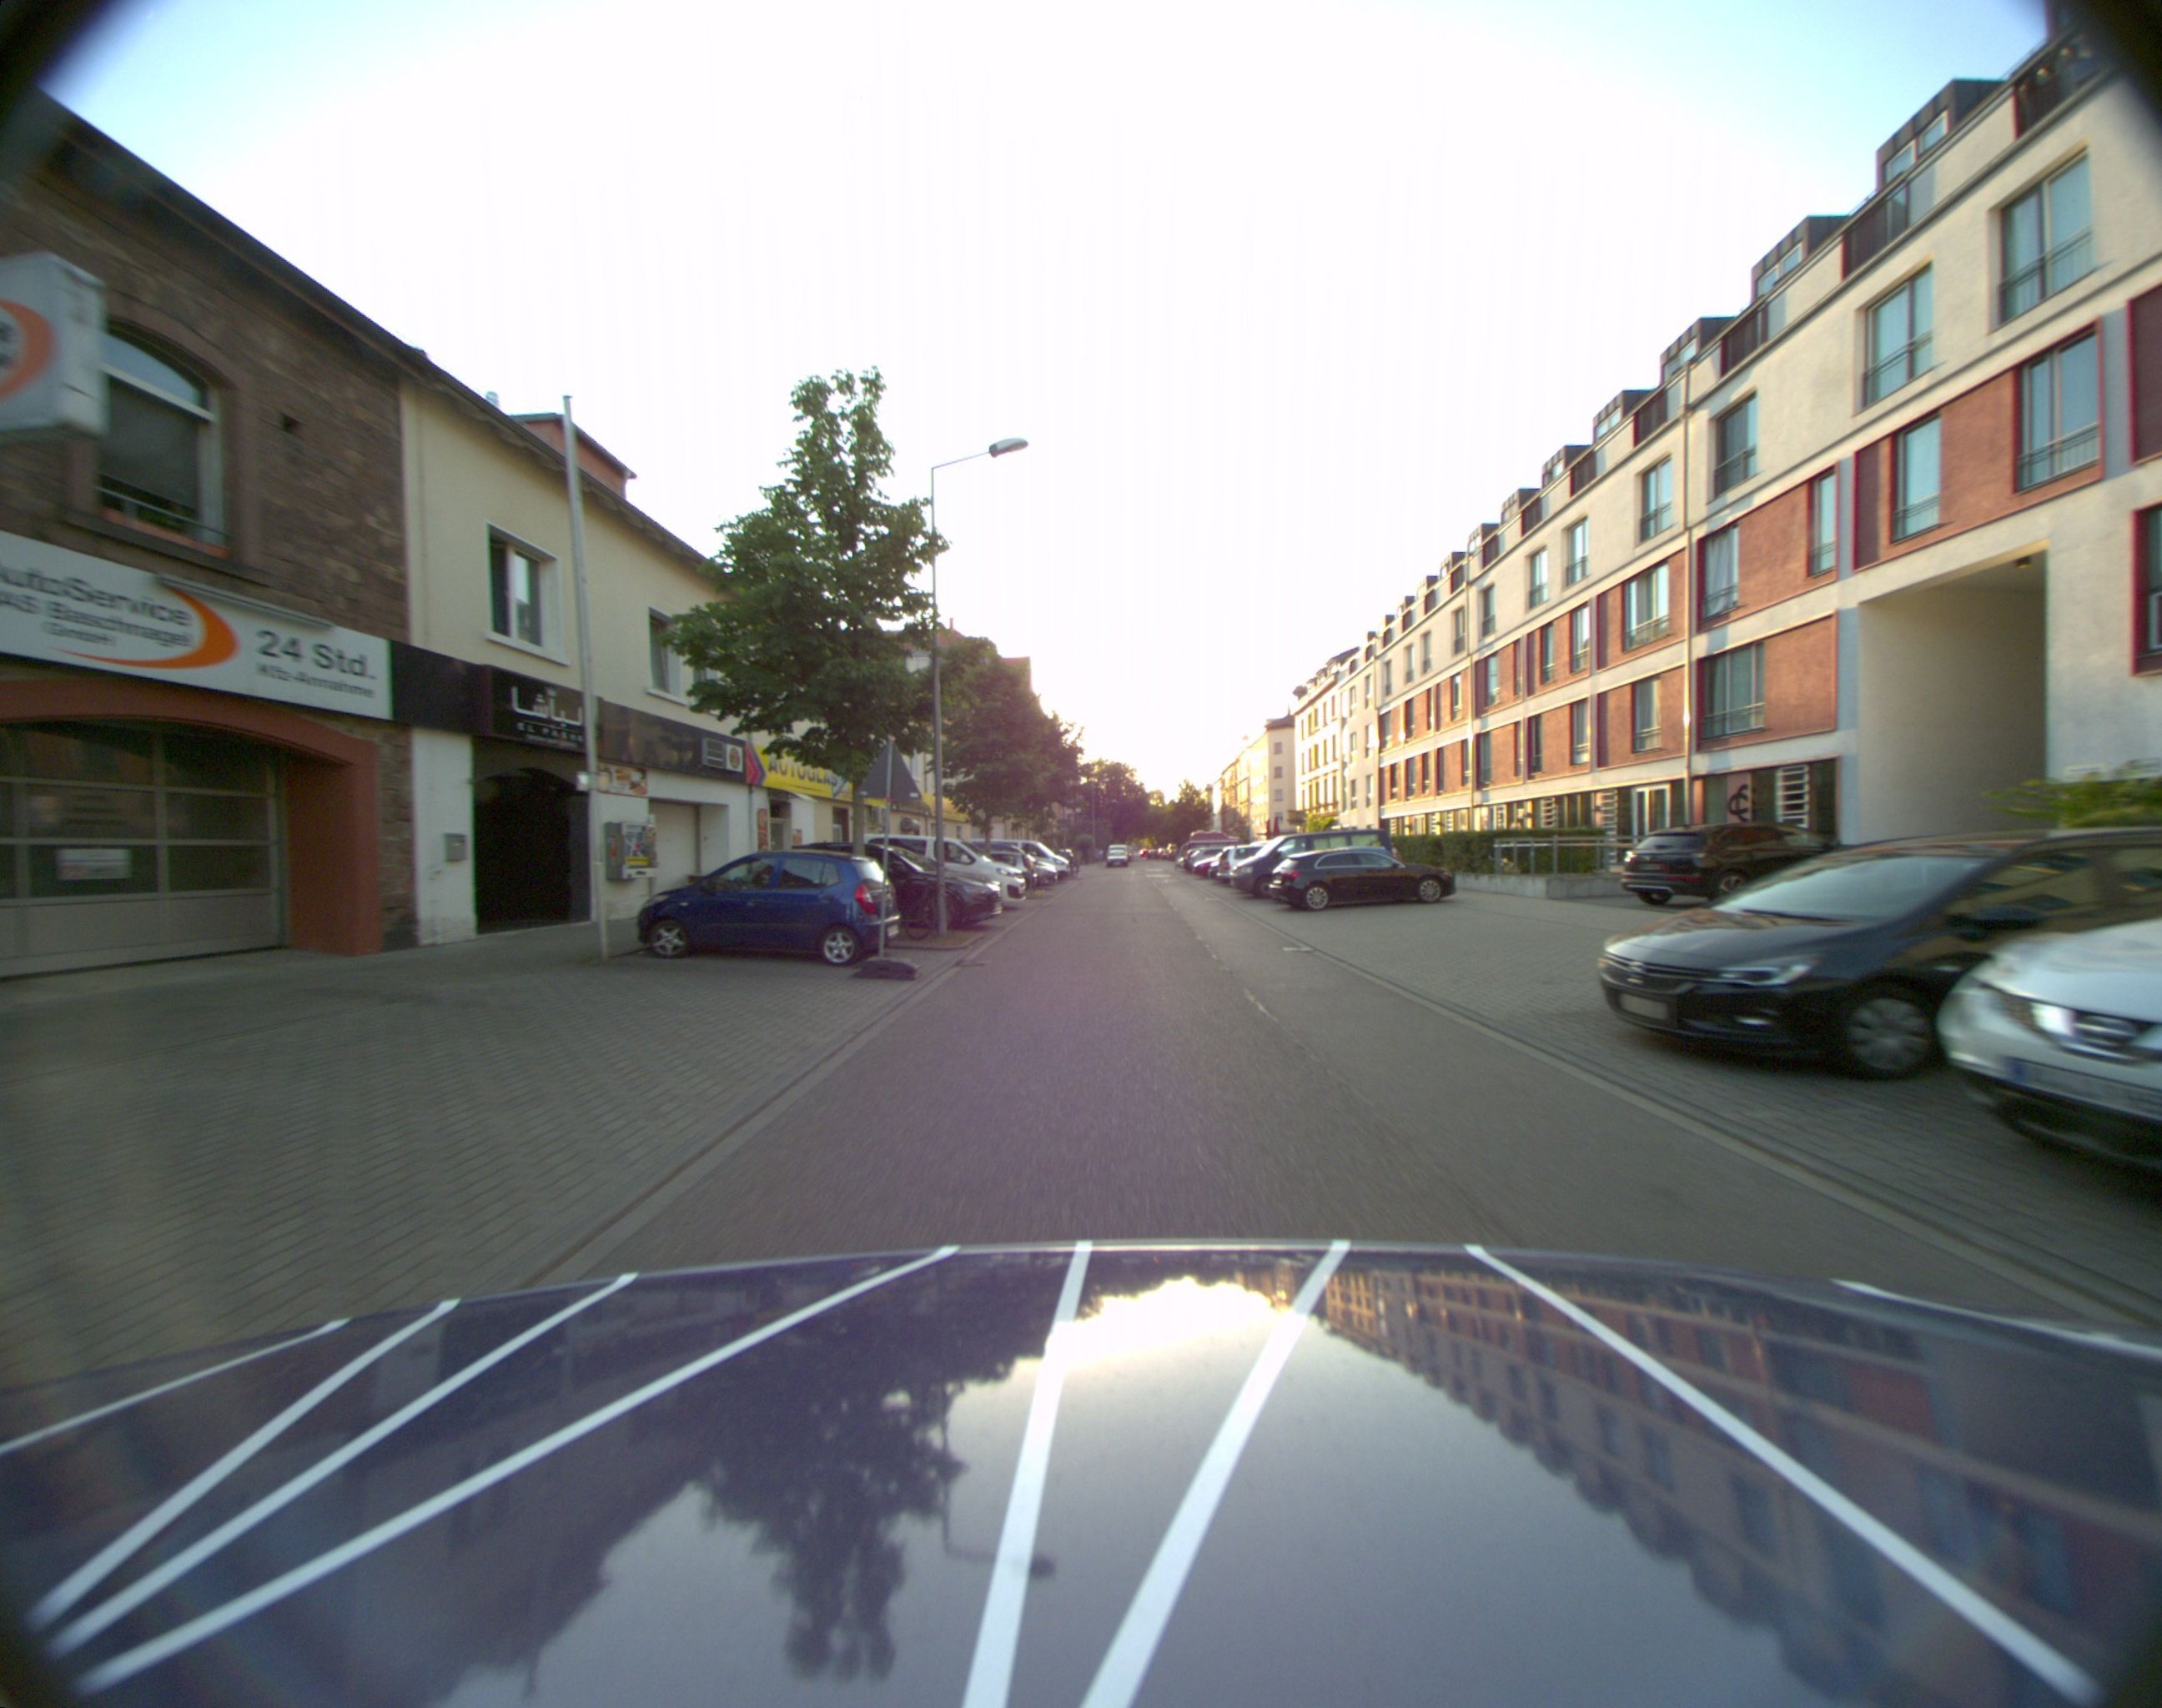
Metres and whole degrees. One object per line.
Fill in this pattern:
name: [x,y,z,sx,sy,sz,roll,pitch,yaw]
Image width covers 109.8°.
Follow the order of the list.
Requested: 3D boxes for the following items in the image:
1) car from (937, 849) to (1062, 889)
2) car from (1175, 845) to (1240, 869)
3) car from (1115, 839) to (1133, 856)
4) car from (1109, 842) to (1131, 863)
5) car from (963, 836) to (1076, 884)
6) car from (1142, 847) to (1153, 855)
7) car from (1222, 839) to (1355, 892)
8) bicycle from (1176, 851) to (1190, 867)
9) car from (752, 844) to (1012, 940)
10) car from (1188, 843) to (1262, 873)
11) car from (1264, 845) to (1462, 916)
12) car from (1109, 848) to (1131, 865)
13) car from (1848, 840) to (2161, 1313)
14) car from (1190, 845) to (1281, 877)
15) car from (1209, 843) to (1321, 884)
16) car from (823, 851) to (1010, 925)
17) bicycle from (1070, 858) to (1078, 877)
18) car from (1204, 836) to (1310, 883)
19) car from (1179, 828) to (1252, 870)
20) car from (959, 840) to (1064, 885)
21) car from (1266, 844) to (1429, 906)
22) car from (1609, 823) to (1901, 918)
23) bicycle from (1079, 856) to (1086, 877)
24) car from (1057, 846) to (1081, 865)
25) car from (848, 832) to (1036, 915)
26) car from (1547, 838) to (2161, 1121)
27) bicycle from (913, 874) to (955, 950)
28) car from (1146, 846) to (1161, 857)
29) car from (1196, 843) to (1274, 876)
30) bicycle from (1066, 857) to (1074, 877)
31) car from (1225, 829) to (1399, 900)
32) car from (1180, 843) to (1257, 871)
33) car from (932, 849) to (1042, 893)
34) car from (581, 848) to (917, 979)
car: [-3.219,0.573,30.668,4.732,1.487,2.000,1,1,2]
car: [8.516,0.215,51.251,3.988,1.408,1.804,-3,1,-3]
car: [5.085,-0.768,90.168,1.998,2.002,4.000,-1,1,2]
car: [3.572,-0.162,70.003,1.939,1.893,4.055,-1,1,2]
car: [-2.867,0.243,36.077,4.970,2.089,2.151,-1,2,7]
car: [12.674,-0.591,145.192,1.890,1.513,4.001,-1,1,4]
car: [7.285,0.394,26.966,4.195,1.713,1.902,-1,1,2]
bicycle: [7.425,0.332,55.379,0.805,1.047,2.415,-4,0,5]
car: [-3.946,0.708,15.583,4.705,1.622,2.000,3,1,4]
car: [8.224,0.221,43.664,3.957,1.531,1.756,-2,1,6]
car: [6.819,0.610,18.648,4.149,1.408,1.738,-3,1,-1]
car: [3.254,0.201,64.261,1.732,1.367,3.763,-1,1,2]
car: [5.894,0.706,2.751,4.253,1.611,1.813,-3,0,2]
car: [7.765,0.327,38.477,4.272,1.485,1.789,-1,1,4]
car: [7.435,0.363,30.978,3.999,1.580,2.052,-1,1,-5]
car: [-3.896,0.779,18.461,3.995,1.487,1.892,3,1,4]
bicycle: [-0.380,0.751,42.739,0.357,1.018,1.972,-1,1,2]
car: [7.673,0.224,33.445,4.188,1.885,1.897,-1,1,-1]
car: [8.589,-0.318,48.687,4.411,2.542,1.932,-1,1,4]
car: [-3.023,0.368,33.574,4.300,1.847,2.001,1,1,6]
car: [7.306,0.547,21.053,3.894,1.484,1.653,-3,1,0]
car: [12.954,0.278,14.795,3.998,1.625,1.999,-1,1,-3]
bicycle: [0.089,0.687,42.730,0.357,1.093,1.972,-1,1,2]
car: [-1.020,0.130,64.808,1.799,1.515,4.000,-1,1,2]
car: [-3.702,0.485,20.782,4.597,1.851,2.012,4,1,4]
car: [6.148,0.737,5.455,4.419,1.443,1.827,-4,1,0]
bicycle: [-2.574,0.979,13.452,0.309,1.185,1.762,-1,1,2]
car: [10.289,-0.404,107.901,1.762,1.478,3.784,1,1,2]
car: [8.249,0.269,40.983,3.894,1.608,1.700,-2,1,6]
bicycle: [-0.585,0.687,40.779,0.357,1.018,1.785,-1,1,2]
car: [7.078,0.314,23.699,4.865,2.043,2.000,-1,1,5]
car: [8.267,0.190,46.019,4.346,1.516,1.706,-2,1,3]
car: [-3.405,0.600,27.967,3.794,1.488,1.681,1,1,2]
car: [-4.627,0.778,11.007,3.996,1.537,1.845,3,1,2]
